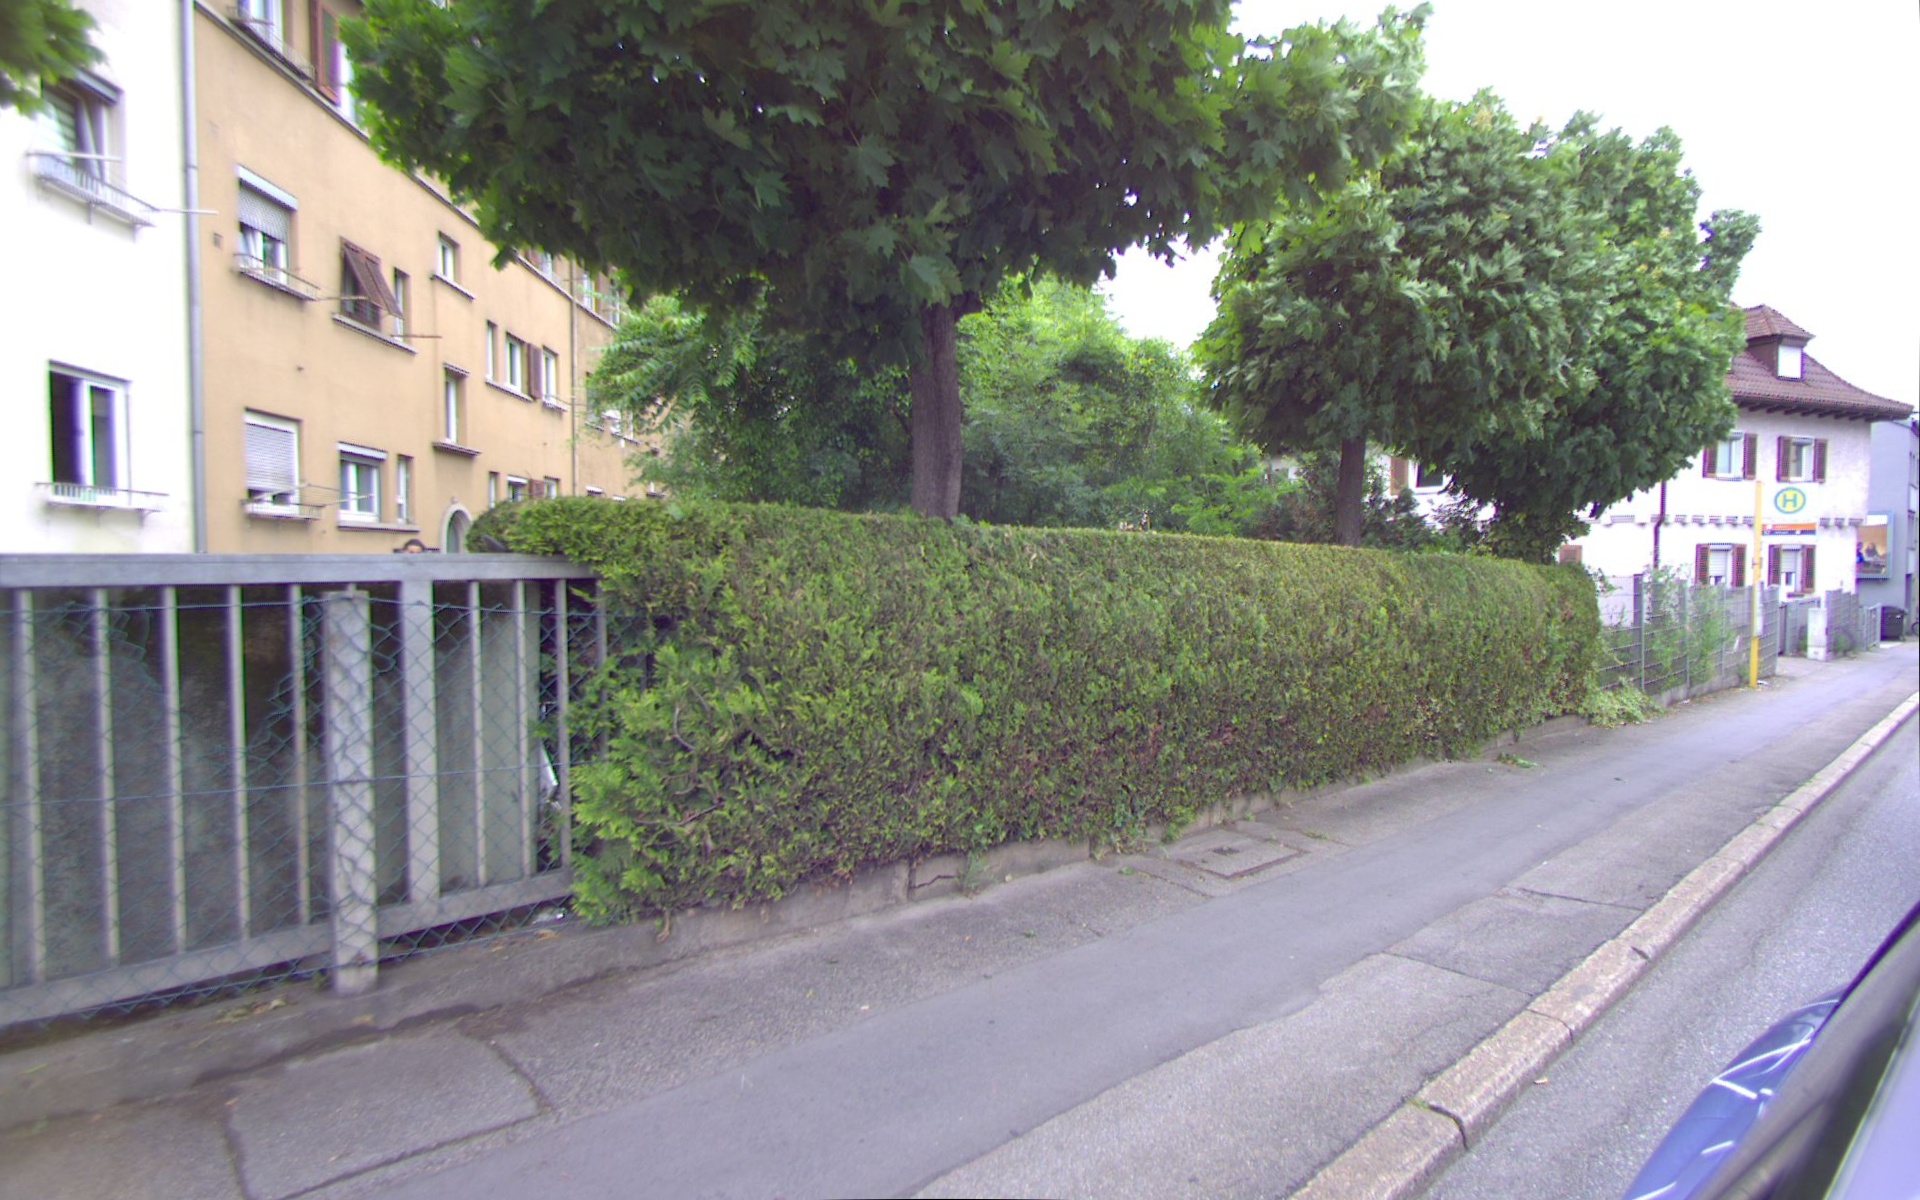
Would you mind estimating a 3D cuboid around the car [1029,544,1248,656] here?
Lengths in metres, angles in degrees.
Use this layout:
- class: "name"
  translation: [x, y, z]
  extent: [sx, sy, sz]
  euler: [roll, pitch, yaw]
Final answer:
- class: "car"
  translation: [3.451, -0.022, 20.156]
  extent: [3.923, 2.039, 2.001]
  euler: [1, 1, -1]

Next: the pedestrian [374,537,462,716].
- class: "pedestrian"
  translation: [-5.537, 0.249, 10.344]
  extent: [0.684, 1.759, 0.466]
  euler: [0, 2, -45]
